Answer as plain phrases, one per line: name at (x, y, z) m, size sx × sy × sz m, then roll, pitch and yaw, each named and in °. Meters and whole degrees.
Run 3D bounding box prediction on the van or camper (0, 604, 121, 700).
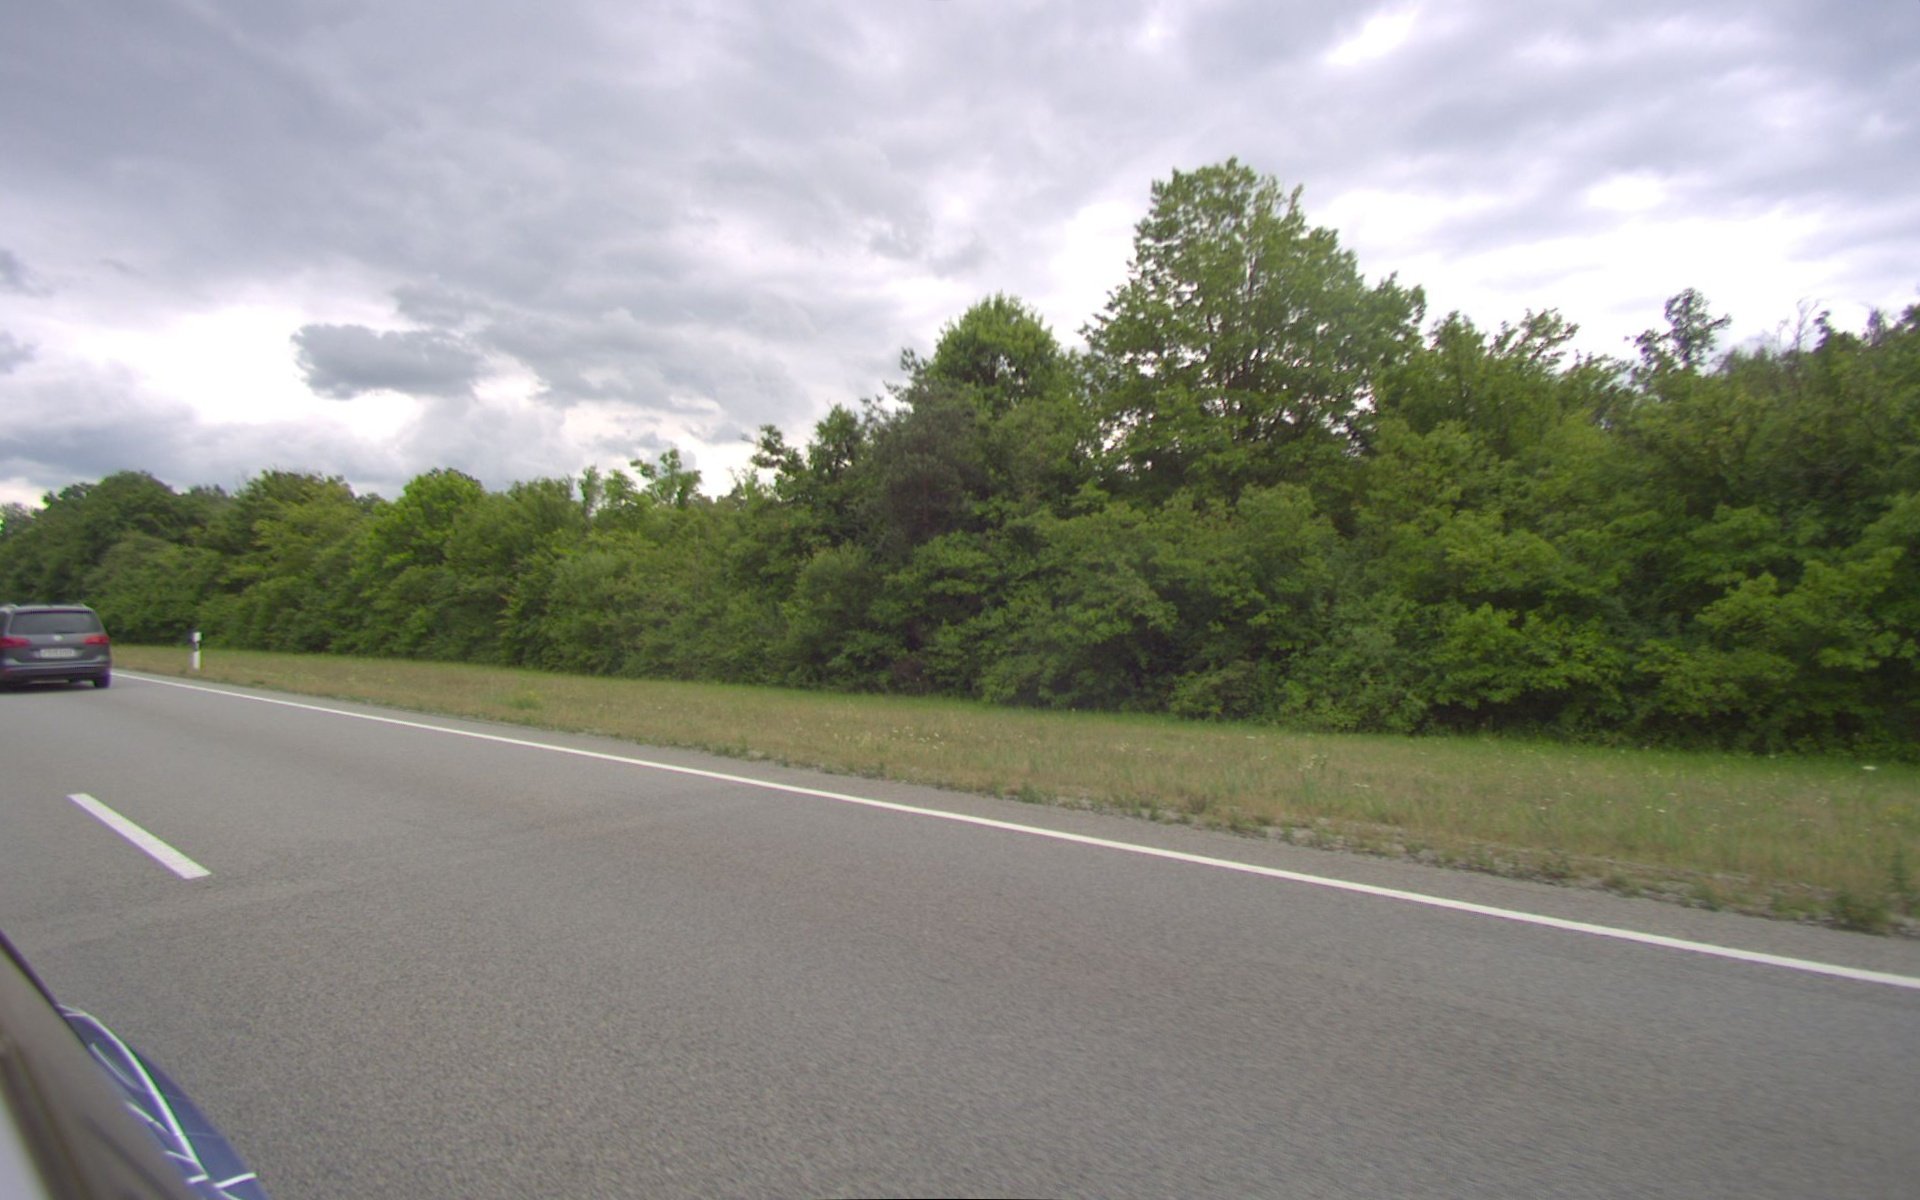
van or camper at (-19.260, 1.013, 21.190) m, size 4.421 × 1.796 × 1.972 m, roll -1°, pitch 0°, yaw 42°
